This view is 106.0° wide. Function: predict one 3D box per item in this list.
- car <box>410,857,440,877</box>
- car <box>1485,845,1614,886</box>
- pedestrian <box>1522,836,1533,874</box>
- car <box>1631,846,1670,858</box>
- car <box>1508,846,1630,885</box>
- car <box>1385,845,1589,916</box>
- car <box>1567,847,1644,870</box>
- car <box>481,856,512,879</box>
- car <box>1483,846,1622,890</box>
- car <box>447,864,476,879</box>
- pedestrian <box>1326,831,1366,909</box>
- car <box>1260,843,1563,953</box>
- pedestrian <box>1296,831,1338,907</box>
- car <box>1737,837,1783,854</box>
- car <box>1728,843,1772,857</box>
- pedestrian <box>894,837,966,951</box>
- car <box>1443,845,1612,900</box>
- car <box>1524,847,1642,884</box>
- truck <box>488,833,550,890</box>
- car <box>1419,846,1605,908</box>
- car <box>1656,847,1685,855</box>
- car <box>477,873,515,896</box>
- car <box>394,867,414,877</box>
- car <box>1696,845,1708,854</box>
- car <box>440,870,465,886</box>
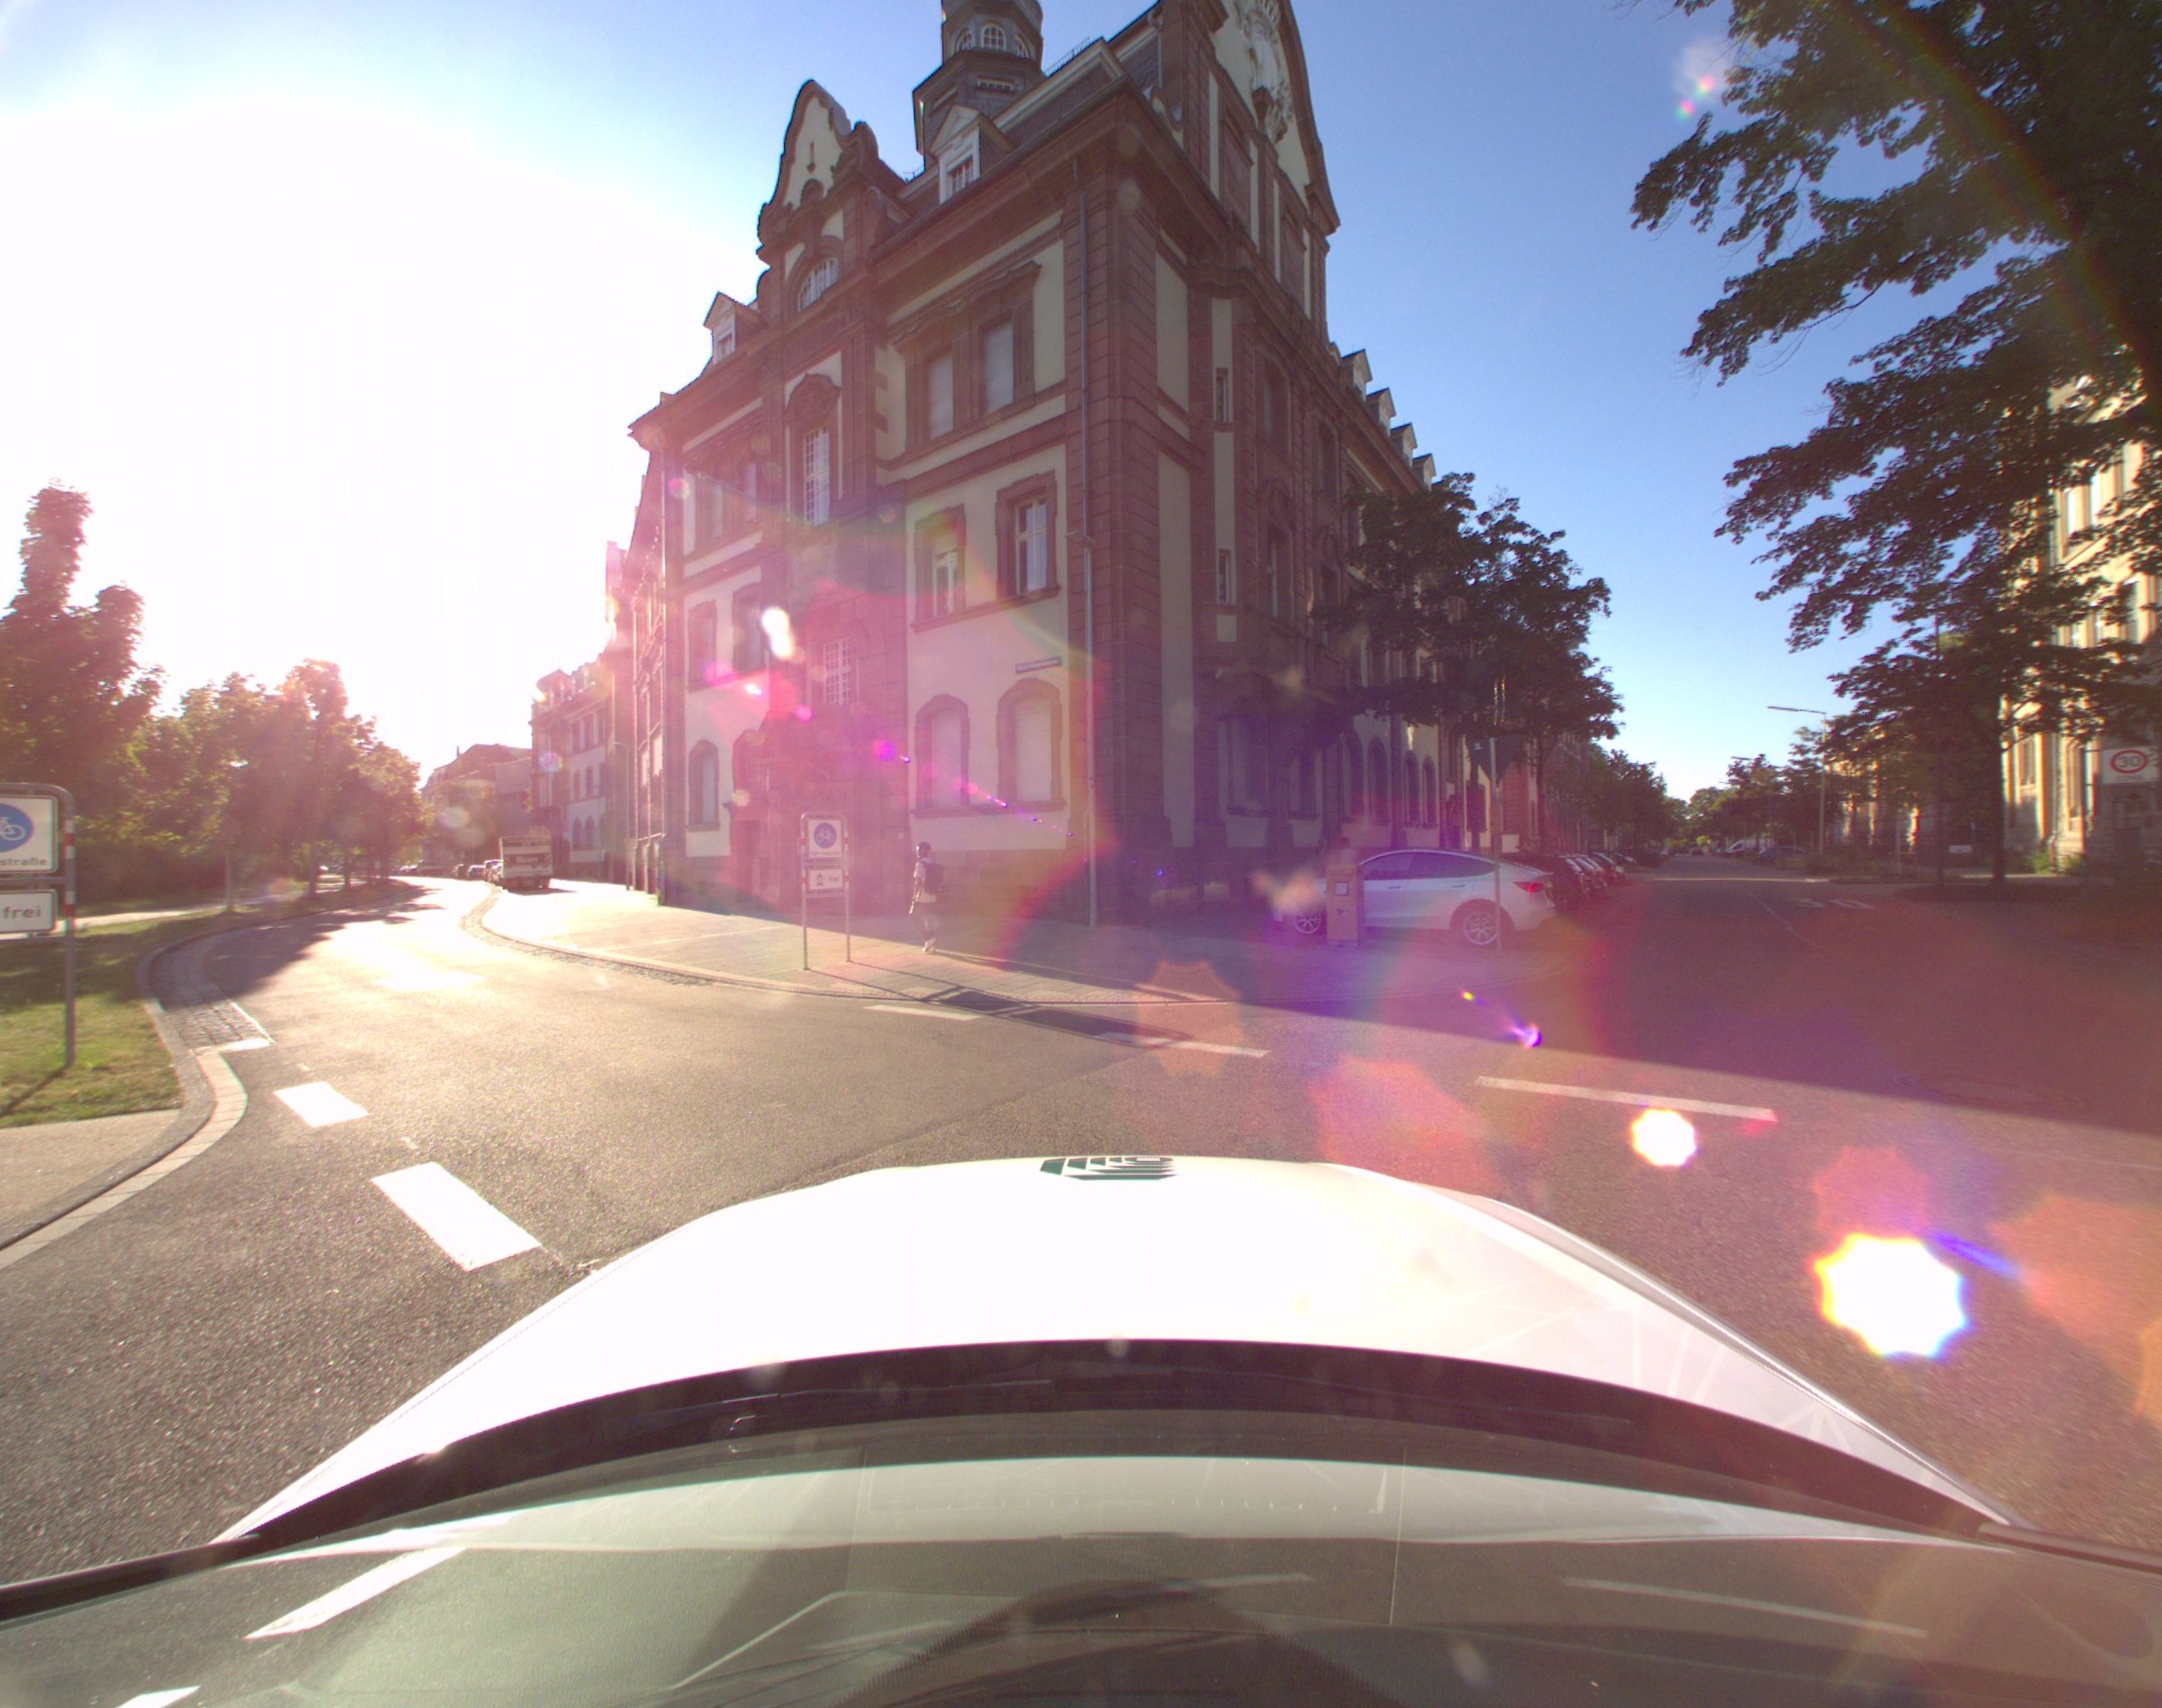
[{"bbox_3d":[-90.533,1.806,112.342,6.070,2.529,2.232,-1,2,43],"label":"car"},{"bbox_3d":[18.752,0.420,32.676,4.336,1.496,1.979,1,1,34],"label":"car"},{"bbox_3d":[23.720,0.034,43.292,0.430,2.013,0.466,-1,-1,37],"label":"pedestrian"},{"bbox_3d":[73.548,-0.258,105.232,4.050,1.494,1.945,-1,0,37],"label":"car"},{"bbox_3d":[20.613,0.442,34.446,4.336,1.496,1.979,1,1,34],"label":"car"},{"bbox_3d":[10.140,0.580,20.439,4.336,1.585,1.979,1,1,34],"label":"car"},{"bbox_3d":[36.117,0.259,56.126,4.336,1.496,1.979,1,1,37],"label":"car"},{"bbox_3d":[-54.505,1.275,75.947,2.010,1.965,4.793,-5,2,-38],"label":"car"},{"bbox_3d":[17.535,0.460,30.342,4.336,1.496,1.979,1,1,34],"label":"car"},{"bbox_3d":[-63.828,1.747,83.913,4.422,1.466,1.763,-1,0,45],"label":"car"},{"bbox_3d":[6.401,0.372,19.662,0.717,1.840,0.617,2,1,39],"label":"pedestrian"},{"bbox_3d":[5.819,0.643,14.568,4.661,1.589,1.979,2,2,34],"label":"car"},{"bbox_3d":[5.870,0.361,20.253,0.780,1.840,0.721,1,1,39],"label":"pedestrian"},{"bbox_3d":[90.861,-1.144,109.057,4.659,2.103,2.013,-1,0,37],"label":"car"},{"bbox_3d":[80.065,-0.452,97.500,3.948,1.618,1.800,-1,0,37],"label":"car"},{"bbox_3d":[-2.403,0.617,12.942,0.990,1.718,0.537,-1,2,38],"label":"pedestrian"},{"bbox_3d":[13.595,0.506,24.868,4.336,1.496,1.979,1,1,34],"label":"car"},{"bbox_3d":[22.179,0.451,36.027,4.336,1.496,1.979,1,1,34],"label":"car"},{"bbox_3d":[-33.119,0.426,47.918,2.645,3.121,6.018,-1,0,-38],"label":"truck"},{"bbox_3d":[11.883,0.564,22.547,4.336,1.496,1.979,1,1,34],"label":"car"},{"bbox_3d":[105.596,-0.528,145.848,4.050,1.494,1.945,-1,0,37],"label":"car"},{"bbox_3d":[-42.290,2.181,58.829,1.887,1.436,4.469,-3,1,-40],"label":"car"},{"bbox_3d":[-99.076,2.655,119.199,3.505,1.440,1.707,-1,1,41],"label":"car"},{"bbox_3d":[126.221,-0.924,165.482,1.727,1.706,3.697,-1,0,34],"label":"car"},{"bbox_3d":[-70.531,2.697,91.382,1.740,1.669,4.063,-3,1,-45],"label":"car"}]
